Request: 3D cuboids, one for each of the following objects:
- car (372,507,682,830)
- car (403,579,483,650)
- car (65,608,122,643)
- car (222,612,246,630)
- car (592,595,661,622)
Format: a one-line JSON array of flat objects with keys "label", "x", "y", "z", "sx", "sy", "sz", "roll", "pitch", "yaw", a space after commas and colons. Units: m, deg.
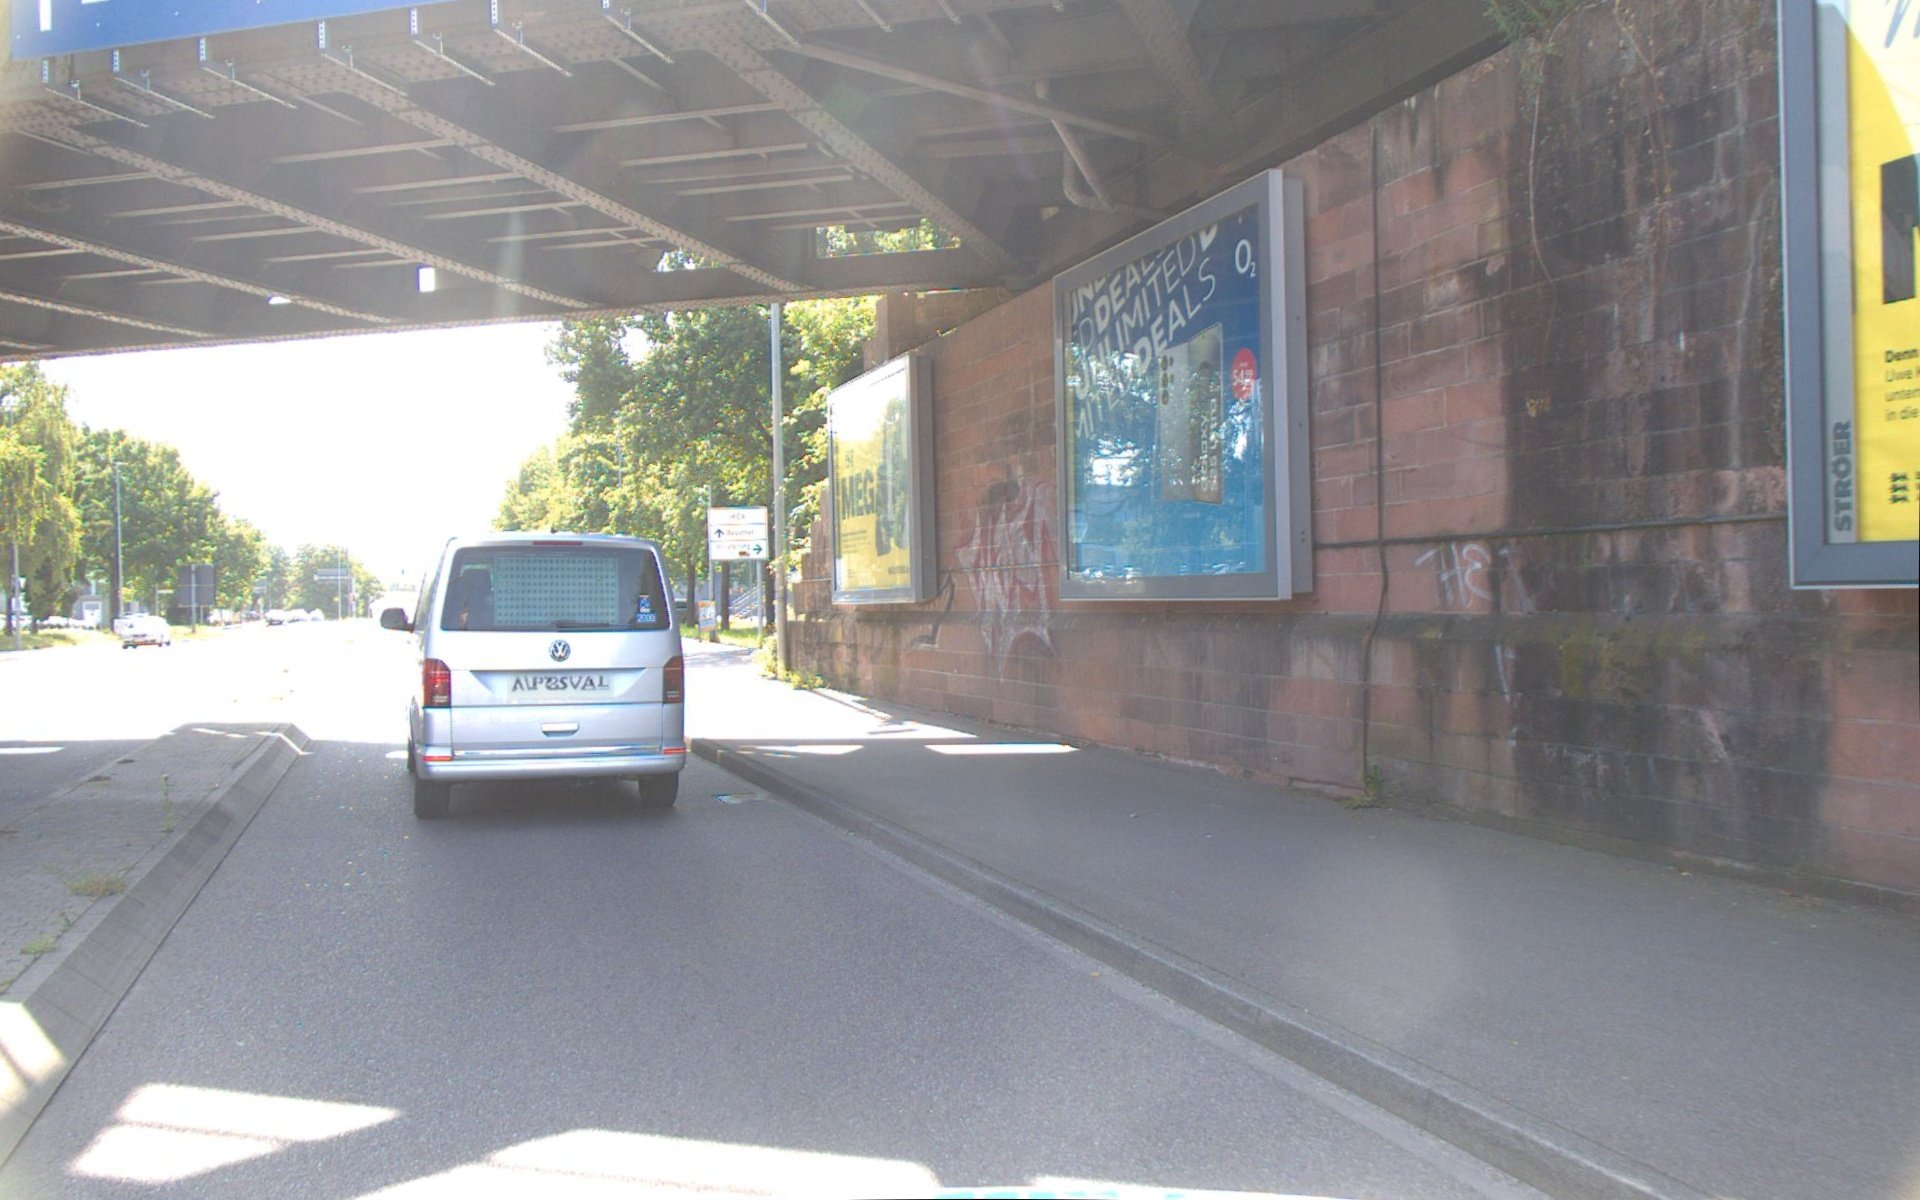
[{"label": "car", "x": -3.586, "y": 0.424, "z": 12.983, "sx": 1.913, "sy": 2.006, "sz": 4.992, "roll": 0, "pitch": 0, "yaw": -20}, {"label": "car", "x": -15.197, "y": 0.392, "z": 48.509, "sx": 1.940, "sy": 1.958, "sz": 4.531, "roll": -1, "pitch": 0, "yaw": -21}, {"label": "car", "x": -39.954, "y": 1.148, "z": 76.333, "sx": 1.942, "sy": 1.518, "sz": 4.053, "roll": -1, "pitch": 0, "yaw": -23}, {"label": "car", "x": -66.558, "y": 1.891, "z": 151.727, "sx": 1.942, "sy": 1.518, "sz": 4.053, "roll": -1, "pitch": 0, "yaw": -23}, {"label": "car", "x": -19.363, "y": 0.485, "z": 96.089, "sx": 3.742, "sy": 1.441, "sz": 1.693, "roll": -1, "pitch": 0, "yaw": -19}]
